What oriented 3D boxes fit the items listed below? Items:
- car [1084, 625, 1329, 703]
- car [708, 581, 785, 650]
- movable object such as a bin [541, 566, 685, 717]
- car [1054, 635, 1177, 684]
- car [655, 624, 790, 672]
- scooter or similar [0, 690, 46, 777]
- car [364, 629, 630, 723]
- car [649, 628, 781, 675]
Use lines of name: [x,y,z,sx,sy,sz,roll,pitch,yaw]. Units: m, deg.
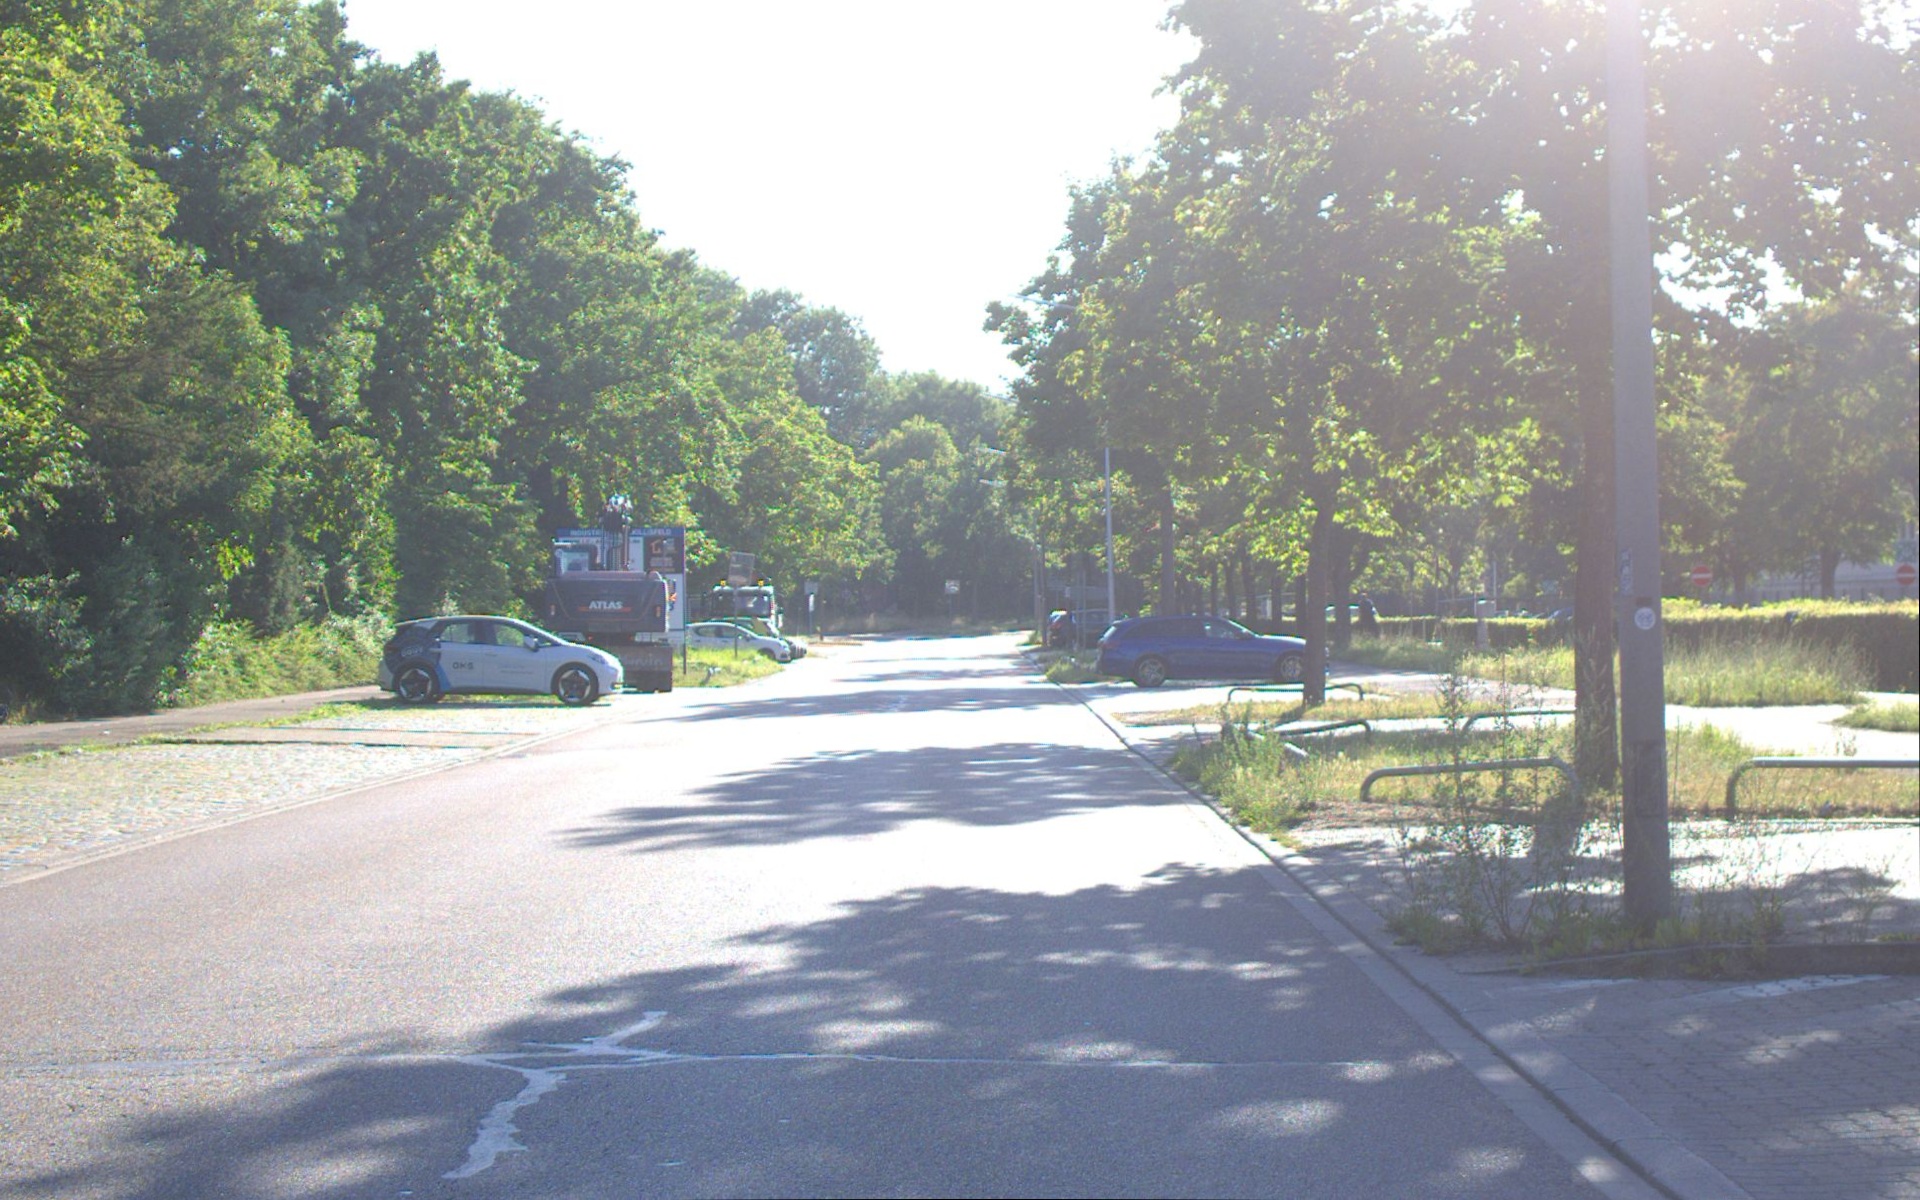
car: [4.960,1.289,69.813,4.841,1.474,2.000,-1,-1,1]
car: [-7.651,0.563,122.864,2.516,2.378,4.373,-1,-1,-6]
movable object such as a bin: [-7.344,0.898,73.278,2.838,3.058,4.927,1,-1,-4]
car: [5.663,2.168,125.598,4.358,1.723,2.000,1,-1,0]
car: [-7.846,1.575,113.499,4.357,1.474,2.000,-1,0,-6]
scooter or similar: [-13.028,1.784,45.803,0.576,1.141,1.581,-2,-2,40]
car: [-8.123,1.328,60.580,4.358,1.542,2.000,-1,-1,1]
car: [-8.291,1.739,116.029,4.357,1.474,2.000,1,-1,-6]
